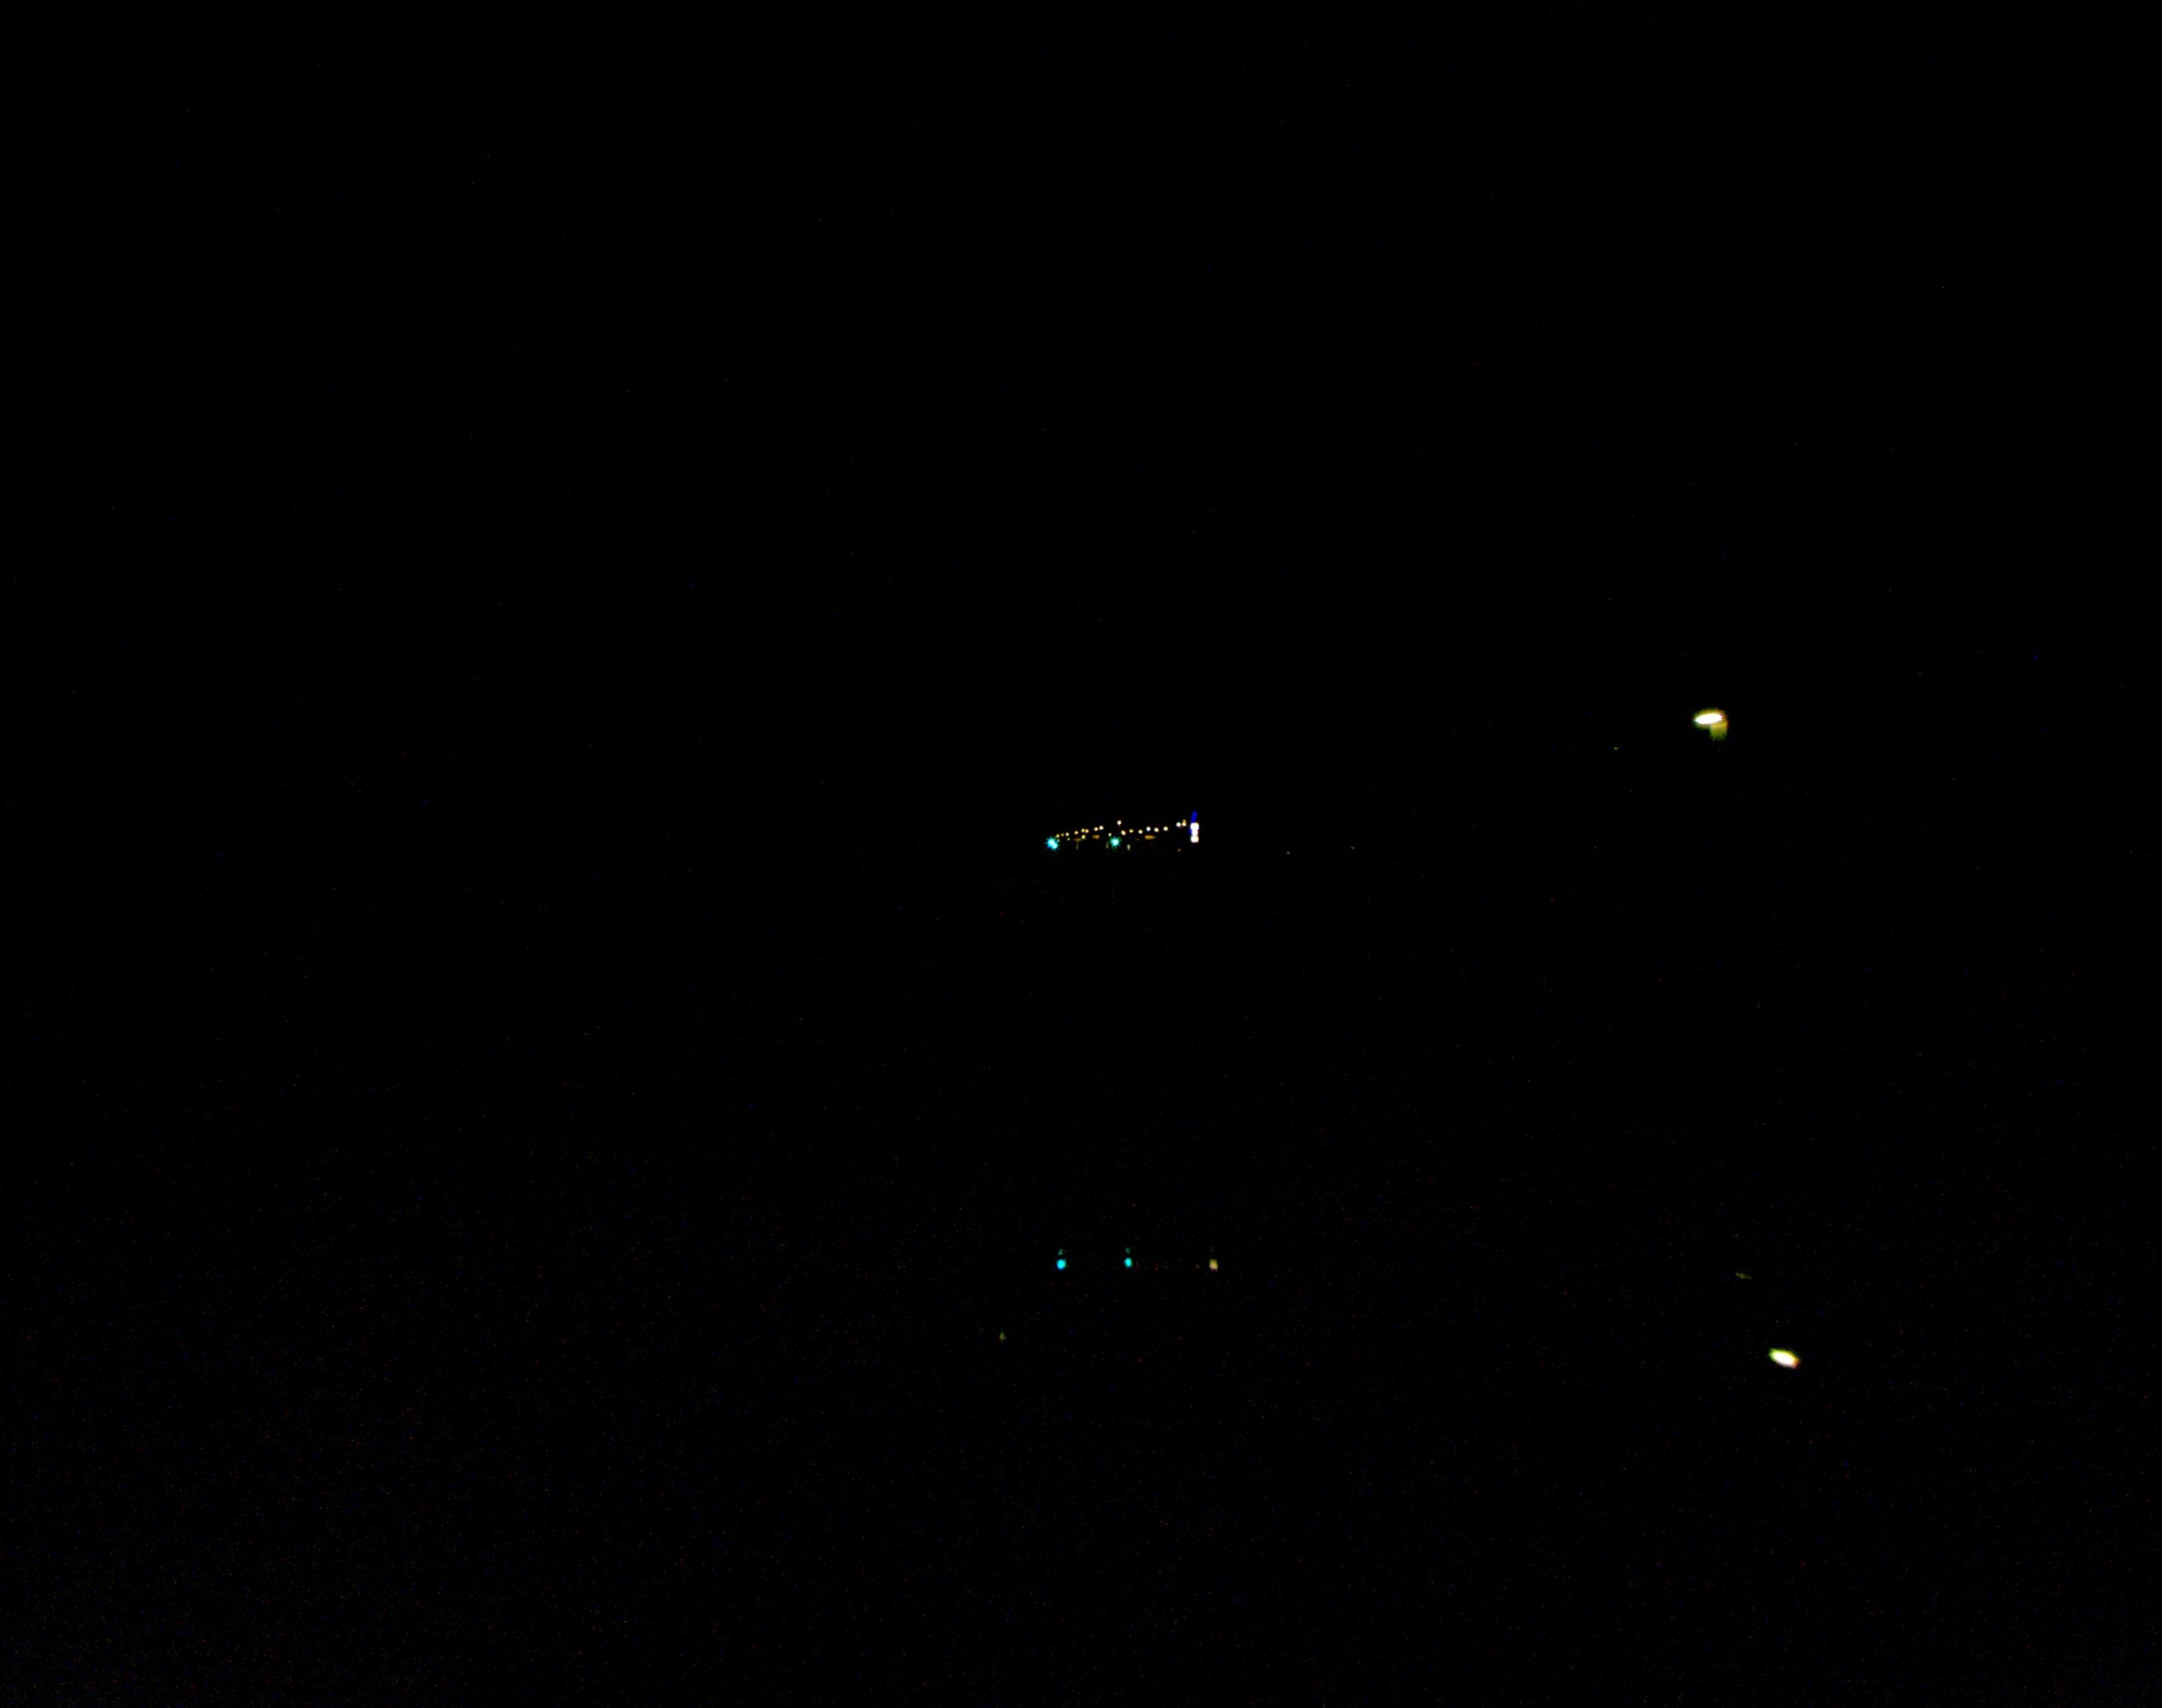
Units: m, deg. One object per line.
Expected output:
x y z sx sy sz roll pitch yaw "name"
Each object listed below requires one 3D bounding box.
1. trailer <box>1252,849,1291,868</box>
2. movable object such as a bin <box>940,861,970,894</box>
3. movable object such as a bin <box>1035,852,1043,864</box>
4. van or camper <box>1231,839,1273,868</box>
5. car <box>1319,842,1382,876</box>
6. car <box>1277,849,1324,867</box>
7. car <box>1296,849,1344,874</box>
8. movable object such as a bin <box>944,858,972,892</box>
16.421 0.355 65.794 2.424 1.367 4.656 4 1 5 "trailer"
-4.374 0.824 26.459 0.859 1.113 0.840 0 1 3 "movable object such as a bin"
-4.233 0.400 77.023 0.725 1.194 0.720 0 1 7 "movable object such as a bin"
16.204 -0.066 72.412 2.279 2.632 5.661 2 0 -4 "van or camper"
16.077 0.266 45.584 1.862 1.893 4.878 0 1 -3 "car"
16.490 0.285 57.173 3.037 1.318 1.533 0 1 -5 "car"
16.172 0.469 51.670 1.906 1.513 5.171 0 1 3 "car"
-4.414 0.745 27.334 0.835 1.174 0.828 0 1 3 "movable object such as a bin"
